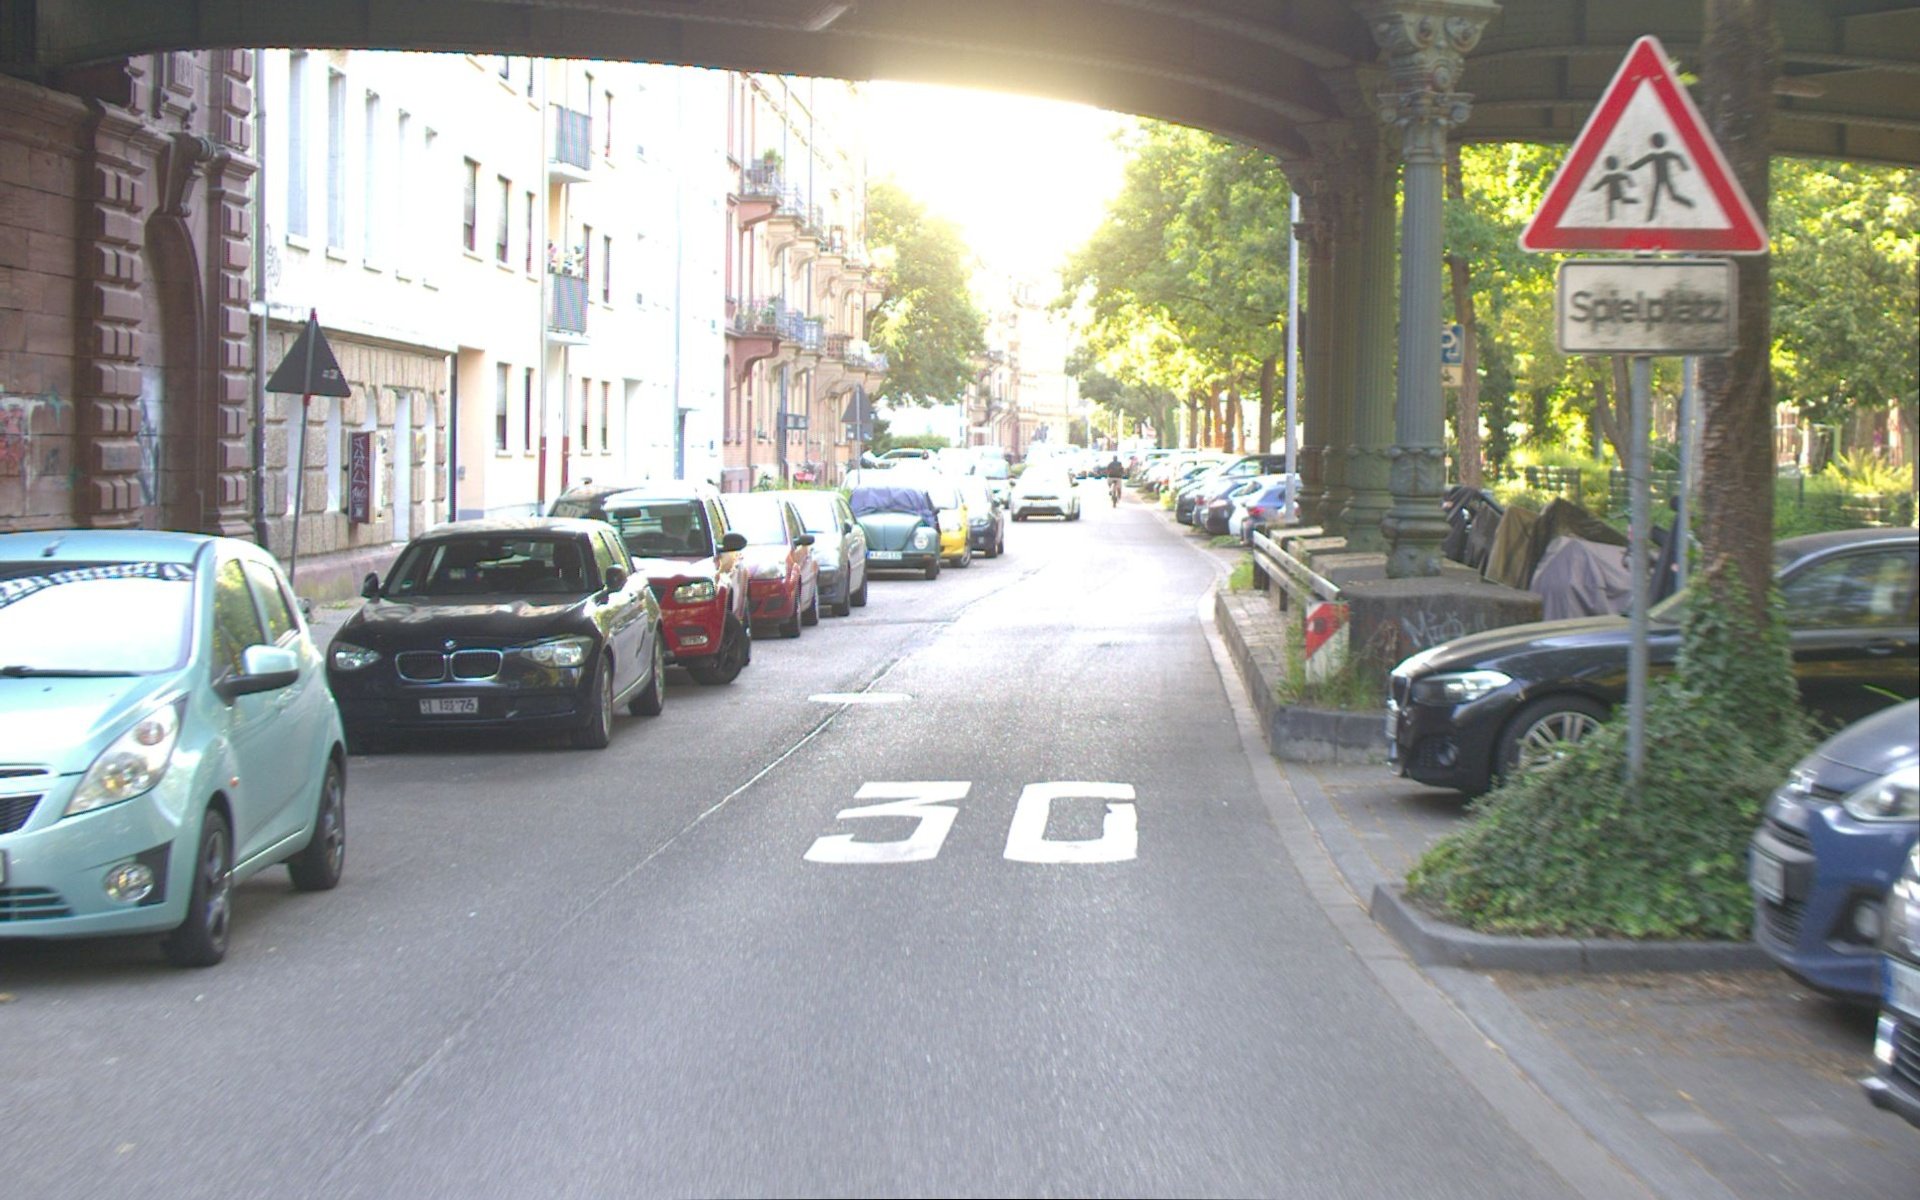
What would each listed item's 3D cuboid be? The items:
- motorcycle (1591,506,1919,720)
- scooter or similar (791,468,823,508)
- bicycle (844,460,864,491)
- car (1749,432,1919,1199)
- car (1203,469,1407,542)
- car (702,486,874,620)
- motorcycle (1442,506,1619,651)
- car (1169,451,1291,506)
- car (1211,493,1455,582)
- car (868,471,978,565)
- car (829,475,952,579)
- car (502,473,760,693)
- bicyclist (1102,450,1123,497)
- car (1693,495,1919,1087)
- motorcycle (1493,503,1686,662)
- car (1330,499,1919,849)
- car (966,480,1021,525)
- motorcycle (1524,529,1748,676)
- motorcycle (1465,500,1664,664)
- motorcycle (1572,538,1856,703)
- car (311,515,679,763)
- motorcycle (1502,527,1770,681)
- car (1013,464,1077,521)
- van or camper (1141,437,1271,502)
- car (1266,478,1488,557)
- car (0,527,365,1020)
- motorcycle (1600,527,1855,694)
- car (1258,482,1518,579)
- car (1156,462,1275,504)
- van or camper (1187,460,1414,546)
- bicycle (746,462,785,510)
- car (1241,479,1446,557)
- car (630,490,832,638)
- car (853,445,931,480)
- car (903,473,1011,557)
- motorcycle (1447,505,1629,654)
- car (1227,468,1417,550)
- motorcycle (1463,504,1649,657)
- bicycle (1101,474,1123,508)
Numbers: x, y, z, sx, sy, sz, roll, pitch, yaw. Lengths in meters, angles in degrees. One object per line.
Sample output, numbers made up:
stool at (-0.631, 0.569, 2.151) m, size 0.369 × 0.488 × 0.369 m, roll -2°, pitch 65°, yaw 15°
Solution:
motorcycle at (4.957, 0.078, 21.032) m, size 1.929 × 1.233 × 0.905 m, roll 2°, pitch 1°, yaw -23°
scooter or similar at (-4.887, -3.581, 110.126) m, size 0.783 × 1.218 × 2.704 m, roll 2°, pitch 1°, yaw 2°
bicycle at (-4.116, -4.818, 133.173) m, size 0.705 × 1.143 × 1.890 m, roll 2°, pitch 1°, yaw -1°
car at (4.140, 0.578, 7.360) m, size 4.374 × 1.702 × 1.907 m, roll 2°, pitch 1°, yaw -2°
car at (7.568, -2.060, 75.248) m, size 4.400 × 1.572 × 1.664 m, roll 0°, pitch 1°, yaw 7°
car at (-2.022, -0.604, 41.342) m, size 1.637 × 1.461 × 4.000 m, roll -2°, pitch 2°, yaw 3°
motorcycle at (5.799, -0.221, 34.934) m, size 1.602 × 1.403 × 0.712 m, roll 2°, pitch 1°, yaw 22°
car at (9.462, -4.259, 120.641) m, size 4.220 × 1.857 × 1.762 m, roll -1°, pitch 2°, yaw 3°
car at (5.916, -1.000, 54.929) m, size 3.782 × 1.396 × 1.827 m, roll 0°, pitch 1°, yaw 3°
car at (-0.600, -1.412, 58.267) m, size 1.702 × 1.520 × 3.774 m, roll 1°, pitch 2°, yaw 2°
car at (-1.039, -1.157, 53.070) m, size 1.567 × 1.512 × 3.782 m, roll 1°, pitch 2°, yaw 4°
car at (-2.665, -0.207, 28.721) m, size 1.717 × 1.702 × 4.323 m, roll 0°, pitch 2°, yaw 0°
bicyclist at (5.243, -4.345, 118.187) m, size 0.627 × 1.567 × 0.802 m, roll 2°, pitch 1°, yaw 1°
car at (4.572, 0.542, 9.988) m, size 4.587 × 1.600 × 1.734 m, roll 1°, pitch 1°, yaw 6°
motorcycle at (5.850, -0.170, 31.946) m, size 1.602 × 1.403 × 0.712 m, roll 2°, pitch 1°, yaw 22°
car at (4.153, 0.370, 17.195) m, size 4.374 × 1.572 × 1.674 m, roll 2°, pitch 1°, yaw 1°
car at (1.103, -3.184, 112.005) m, size 1.504 × 1.430 × 2.752 m, roll 0°, pitch 3°, yaw 7°
motorcycle at (5.508, 0.019, 28.037) m, size 1.599 × 1.128 × 0.713 m, roll 2°, pitch 1°, yaw -14°
motorcycle at (5.461, -0.170, 31.051) m, size 1.602 × 1.403 × 0.712 m, roll 2°, pitch 1°, yaw 22°
motorcycle at (4.991, 0.138, 22.725) m, size 1.720 × 1.026 × 0.812 m, roll 2°, pitch 1°, yaw -32°
car at (-2.979, 0.189, 22.817) m, size 1.717 × 1.459 × 4.000 m, roll 0°, pitch 2°, yaw 3°
motorcycle at (5.260, 0.031, 26.764) m, size 1.831 × 1.128 × 0.851 m, roll 2°, pitch 1°, yaw -21°
car at (2.381, -3.003, 95.520) m, size 1.668 × 1.425 × 4.001 m, roll -1°, pitch 4°, yaw 3°
van or camper at (9.815, -5.219, 137.602) m, size 4.981 × 2.369 × 2.185 m, roll 2°, pitch 1°, yaw 1°
car at (7.575, -1.498, 62.674) m, size 3.782 × 1.396 × 1.767 m, roll 0°, pitch 1°, yaw -1°
car at (-3.357, 0.515, 12.913) m, size 1.594 × 1.542 × 3.915 m, roll 0°, pitch 2°, yaw -1°
motorcycle at (5.450, 0.076, 24.404) m, size 1.720 × 1.128 × 0.712 m, roll 2°, pitch 1°, yaw -32°
car at (6.594, -1.075, 53.152) m, size 3.782 × 1.467 × 1.635 m, roll 0°, pitch 1°, yaw -1°
car at (9.305, -4.257, 125.106) m, size 4.221 × 1.448 × 1.648 m, roll 0°, pitch 2°, yaw 6°
van or camper at (8.233, -2.378, 83.477) m, size 5.415 × 2.020 × 2.029 m, roll 0°, pitch 3°, yaw 5°
bicycle at (-5.211, -3.059, 92.113) m, size 0.737 × 1.202 × 2.514 m, roll 2°, pitch 3°, yaw 3°
car at (7.259, -1.550, 64.977) m, size 3.783 × 1.442 × 1.664 m, roll 0°, pitch 1°, yaw 8°
car at (-2.358, -0.423, 36.253) m, size 1.689 × 1.436 × 4.000 m, roll 1°, pitch 2°, yaw 2°
car at (-3.635, -7.367, 184.863) m, size 3.987 × 1.700 × 2.000 m, roll 2°, pitch 1°, yaw 3°
car at (-0.021, -1.584, 63.113) m, size 1.739 × 1.474 × 4.000 m, roll 0°, pitch 2°, yaw 3°
motorcycle at (5.706, -0.208, 33.924) m, size 1.602 × 1.403 × 0.712 m, roll 2°, pitch 1°, yaw 22°
car at (7.409, -1.862, 70.527) m, size 3.782 × 1.640 × 1.664 m, roll 0°, pitch 1°, yaw 3°
motorcycle at (5.730, -0.193, 33.053) m, size 1.602 × 1.403 × 0.712 m, roll 2°, pitch 1°, yaw 22°
bicycle at (5.212, -3.742, 118.069) m, size 0.641 × 1.096 × 1.944 m, roll 2°, pitch 1°, yaw 1°
